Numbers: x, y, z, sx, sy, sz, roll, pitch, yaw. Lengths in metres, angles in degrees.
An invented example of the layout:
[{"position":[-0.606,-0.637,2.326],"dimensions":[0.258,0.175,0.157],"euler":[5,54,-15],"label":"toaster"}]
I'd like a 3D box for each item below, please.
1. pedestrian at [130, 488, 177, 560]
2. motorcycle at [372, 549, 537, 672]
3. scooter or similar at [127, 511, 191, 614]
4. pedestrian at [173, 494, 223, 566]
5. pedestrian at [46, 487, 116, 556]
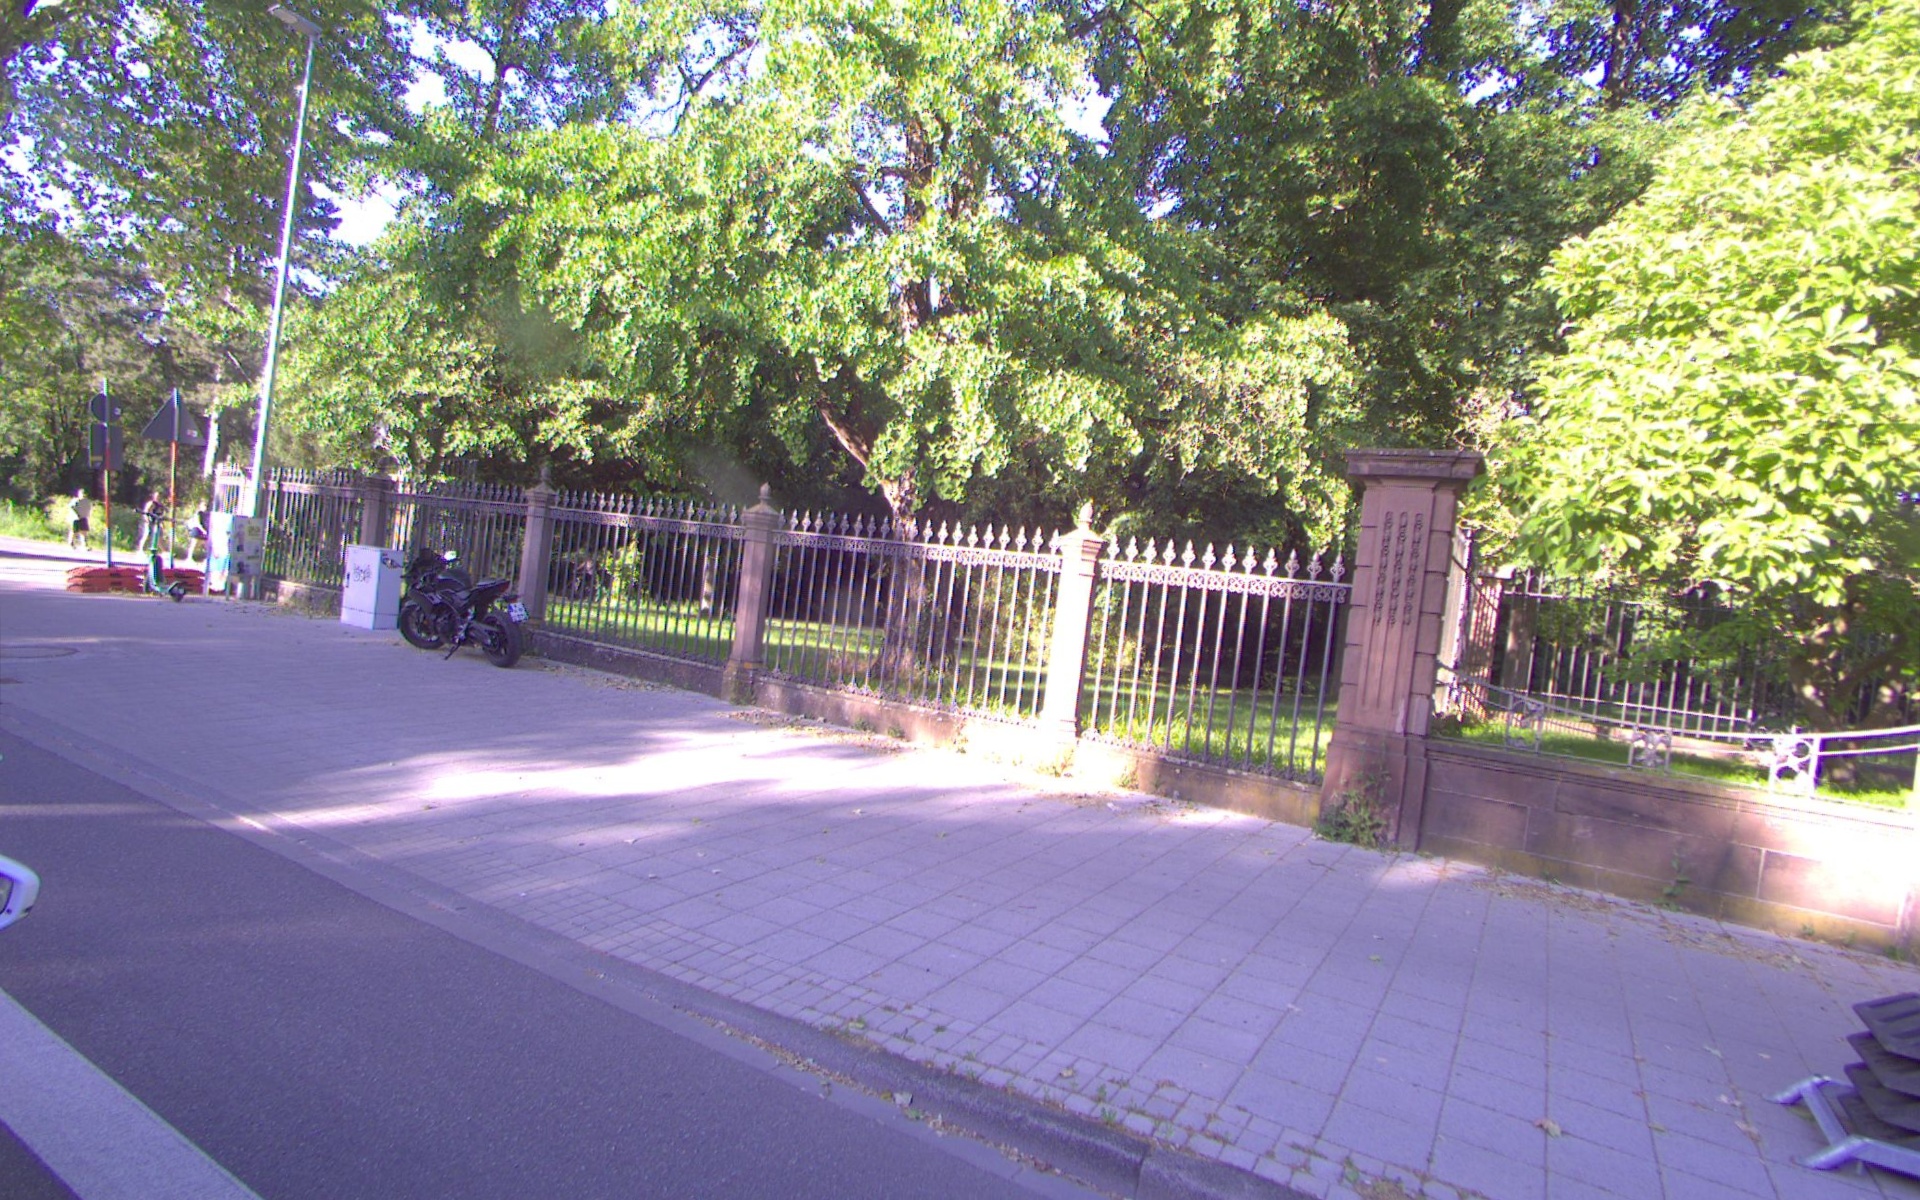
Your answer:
[{"position":[-21.378,-2.016,26.665],"dimensions":[0.814,1.794,0.822],"euler":[6,2,-42],"label":"pedestrian"},{"position":[-5.694,0.097,11.278],"dimensions":[2.134,1.146,0.506],"euler":[7,2,30],"label":"motorcycle"},{"position":[-11.397,-0.546,14.301],"dimensions":[1.152,1.344,0.228],"euler":[7,2,30],"label":"scooter or similar"},{"position":[-19.656,-1.798,25.962],"dimensions":[0.632,1.721,0.690],"euler":[7,1,25],"label":"pedestrian"},{"position":[-21.952,-1.963,25.126],"dimensions":[0.899,1.536,0.821],"euler":[7,-1,15],"label":"pedestrian"}]
